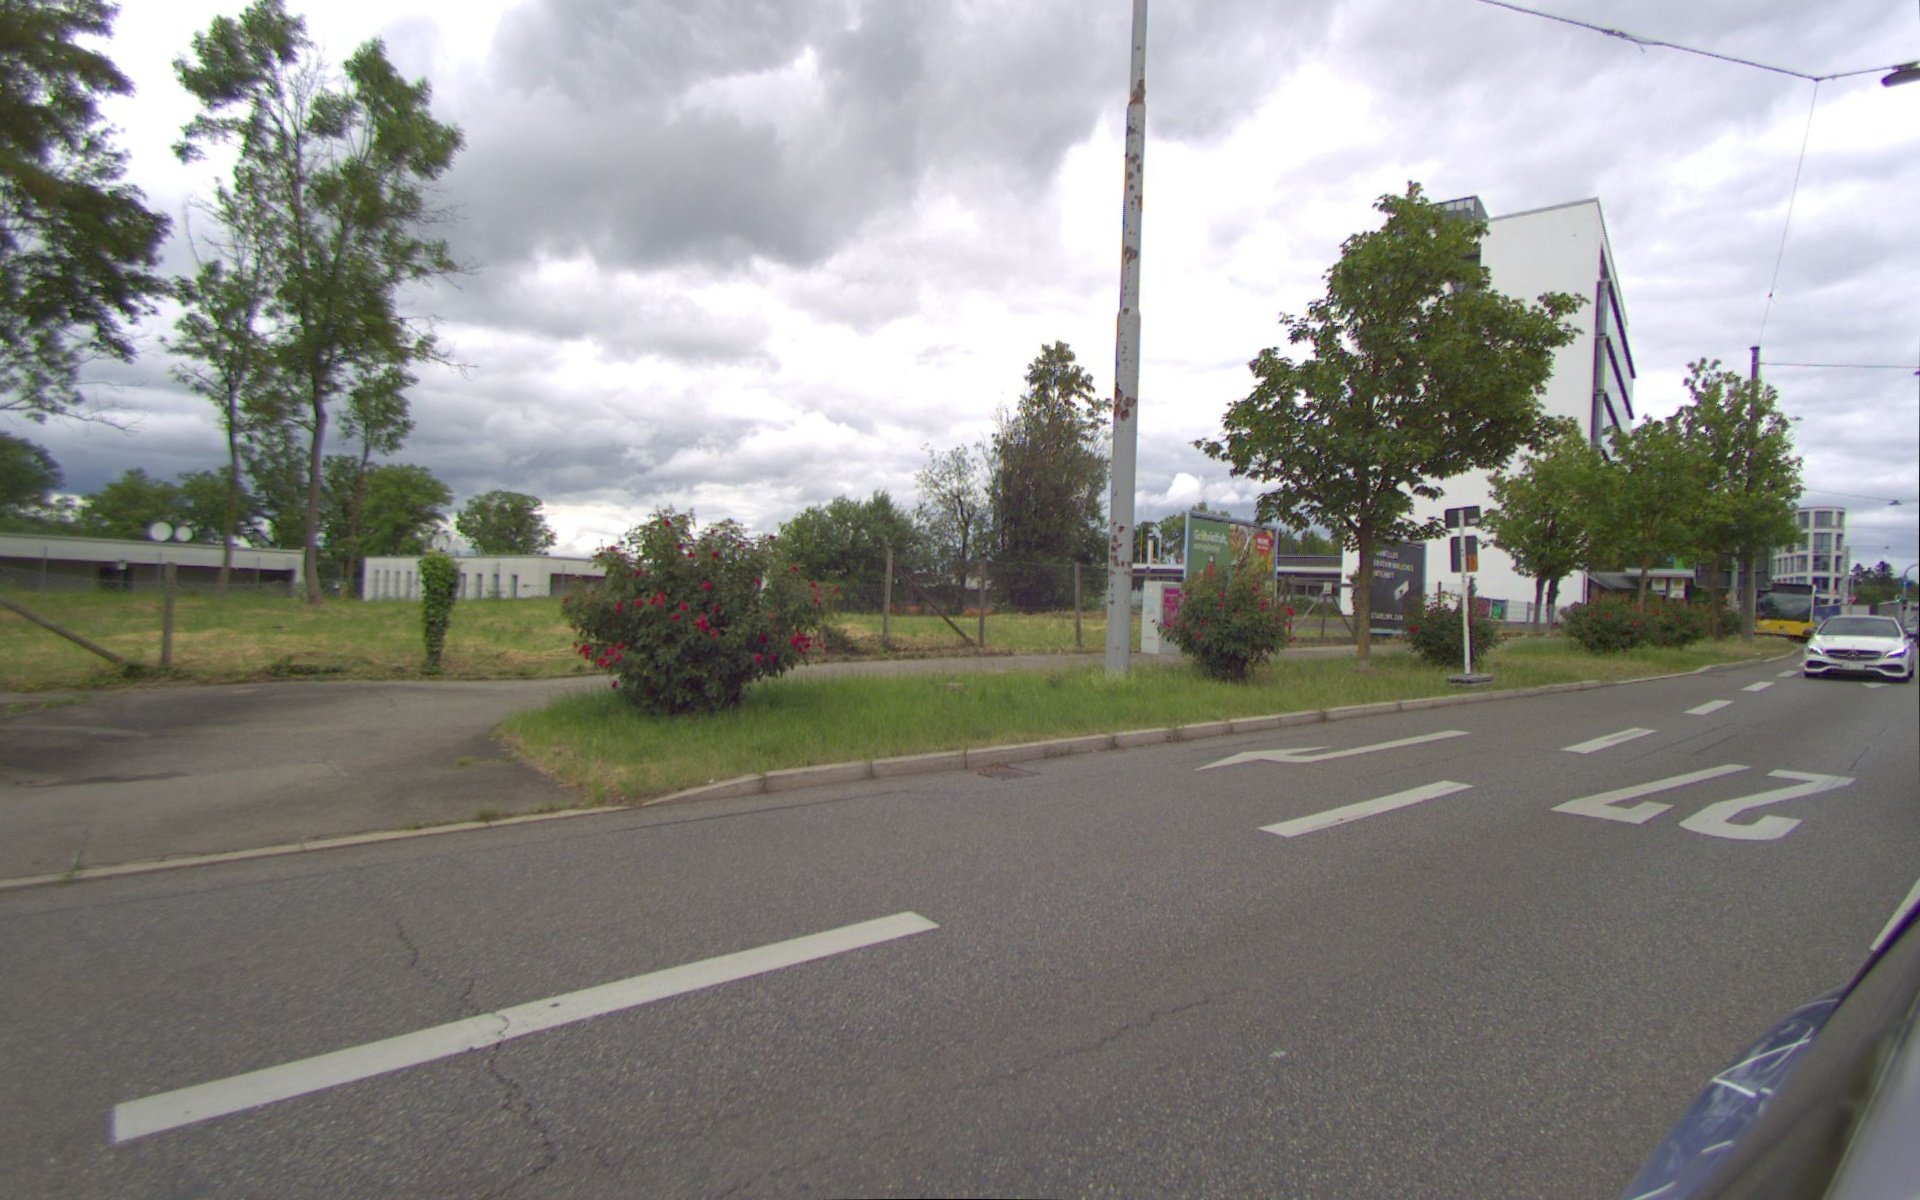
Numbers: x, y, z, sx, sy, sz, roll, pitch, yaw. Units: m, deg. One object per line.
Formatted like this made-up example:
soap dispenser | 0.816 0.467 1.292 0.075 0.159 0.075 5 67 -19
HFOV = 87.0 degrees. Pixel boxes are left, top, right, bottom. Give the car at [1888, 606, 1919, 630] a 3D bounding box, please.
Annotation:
car | 65.810 1.217 70.109 4.291 1.573 1.734 1 0 -40

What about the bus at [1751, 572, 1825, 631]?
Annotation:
bus | 49.838 0.123 61.119 3.030 3.276 9.210 2 1 37

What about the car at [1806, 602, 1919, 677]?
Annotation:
car | 21.014 0.843 23.505 1.864 1.524 4.708 2 1 38

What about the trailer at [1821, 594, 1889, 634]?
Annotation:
trailer | 104.566 1.722 118.488 3.087 4.324 14.681 2 0 30

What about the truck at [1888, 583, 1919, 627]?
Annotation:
truck | 92.487 0.568 98.054 2.933 4.008 9.037 2 0 38

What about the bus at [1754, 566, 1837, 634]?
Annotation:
bus | 44.119 0.027 53.701 2.976 3.282 9.730 2 1 38

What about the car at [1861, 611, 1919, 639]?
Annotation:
car | 52.559 1.371 57.266 1.725 1.501 4.315 1 0 34
